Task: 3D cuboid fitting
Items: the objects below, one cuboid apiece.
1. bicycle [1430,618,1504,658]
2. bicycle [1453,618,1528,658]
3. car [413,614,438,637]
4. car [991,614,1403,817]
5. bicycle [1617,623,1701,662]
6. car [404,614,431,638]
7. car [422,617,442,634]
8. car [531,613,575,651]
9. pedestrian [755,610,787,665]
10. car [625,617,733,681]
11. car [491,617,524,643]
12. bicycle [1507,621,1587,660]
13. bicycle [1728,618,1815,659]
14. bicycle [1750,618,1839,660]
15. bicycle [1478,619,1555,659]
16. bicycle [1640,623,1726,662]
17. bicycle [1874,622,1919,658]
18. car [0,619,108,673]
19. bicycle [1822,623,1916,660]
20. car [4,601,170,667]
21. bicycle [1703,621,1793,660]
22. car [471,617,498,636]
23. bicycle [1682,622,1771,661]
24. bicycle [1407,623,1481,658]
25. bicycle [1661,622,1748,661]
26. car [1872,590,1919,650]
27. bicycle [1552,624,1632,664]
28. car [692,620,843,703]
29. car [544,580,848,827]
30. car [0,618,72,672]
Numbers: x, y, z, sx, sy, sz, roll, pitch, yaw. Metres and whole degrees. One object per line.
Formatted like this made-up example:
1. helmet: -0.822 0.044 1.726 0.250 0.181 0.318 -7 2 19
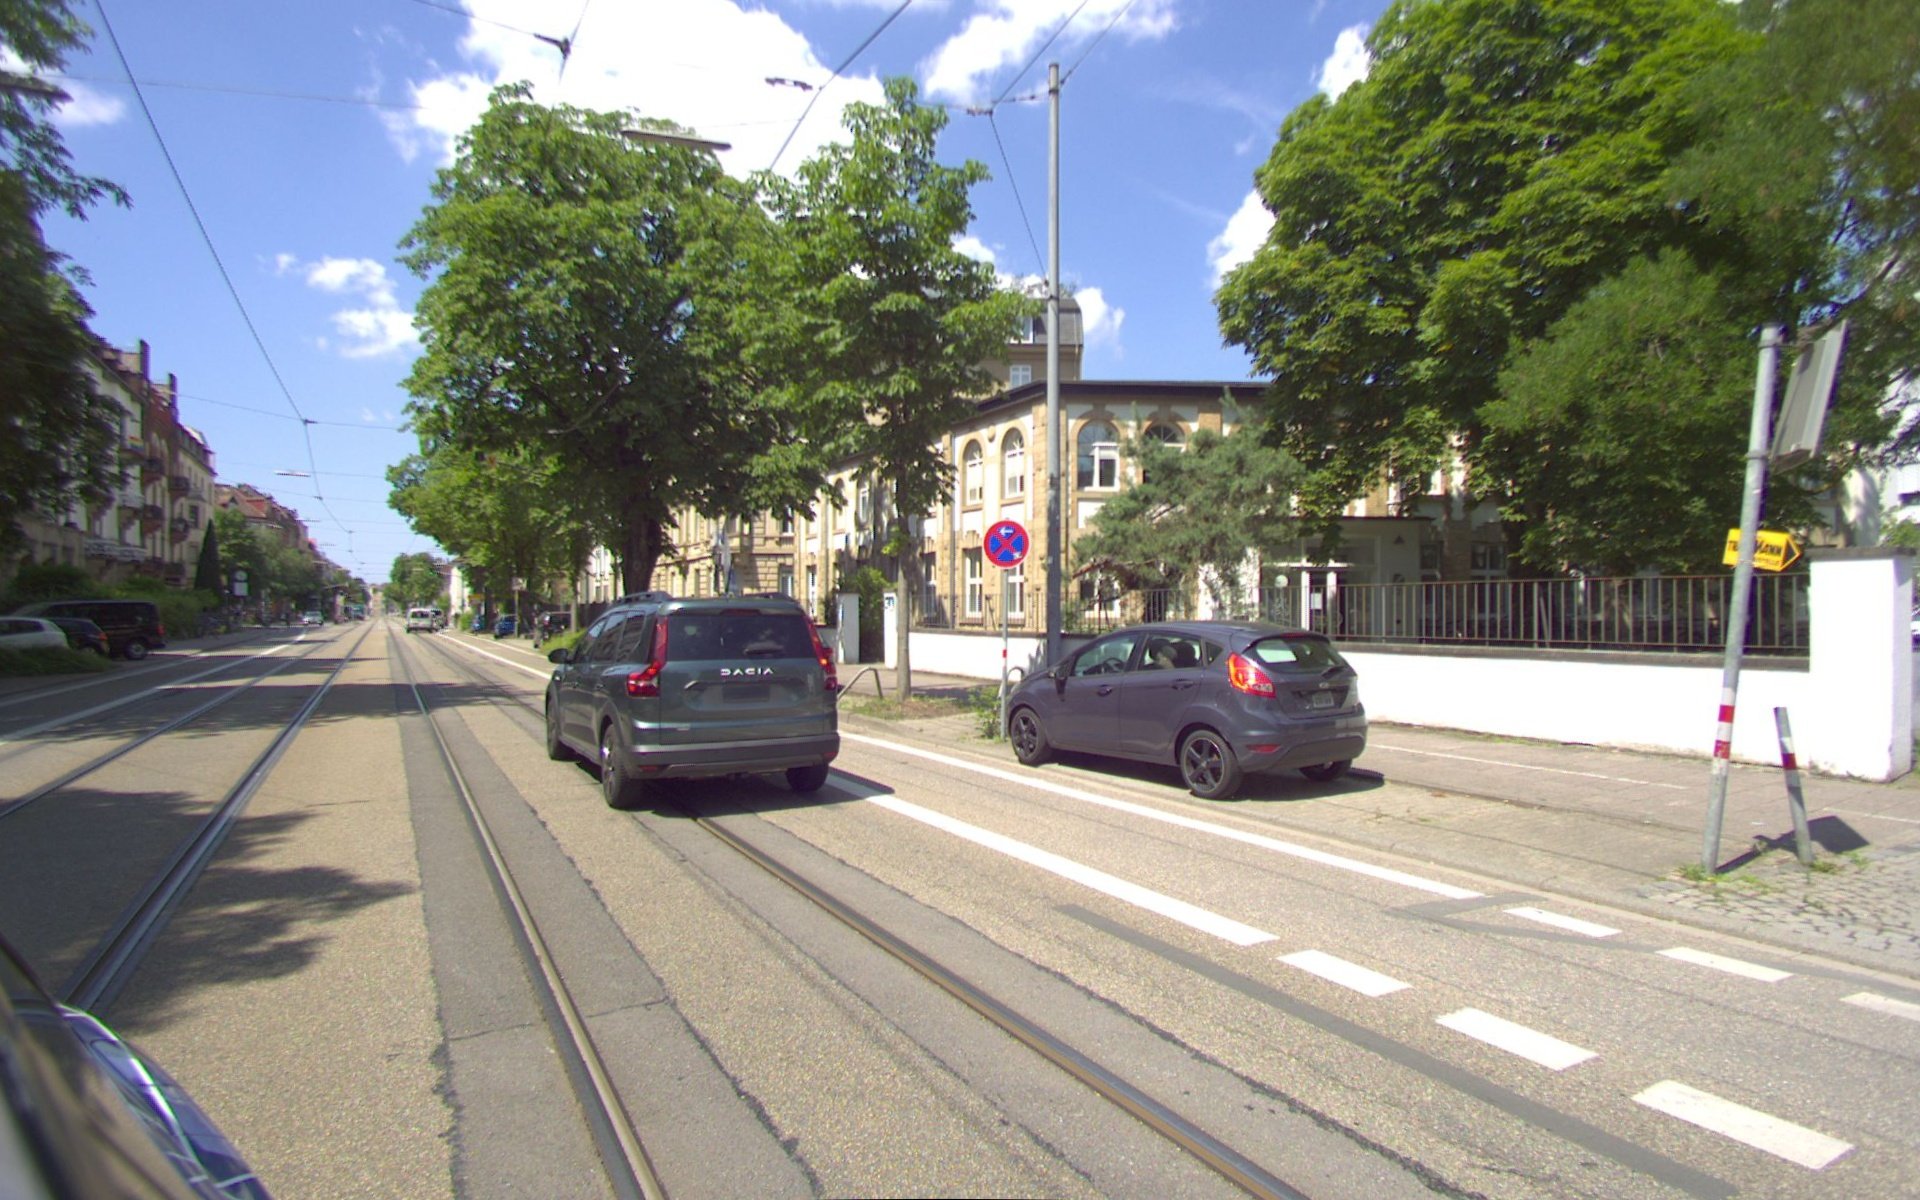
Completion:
1. bicycle: 14.105 1.035 28.234 0.622 1.019 2.265 0 0 -10
2. bicycle: 14.752 1.039 28.222 0.561 1.019 2.264 0 0 -10
3. car: -43.367 2.048 82.053 1.734 1.732 4.012 0 -1 -29
4. car: 2.033 0.910 9.655 1.562 1.467 3.736 -2 0 -33
5. bicycle: 19.556 1.169 28.388 0.598 1.019 2.263 0 0 -6
6. car: -40.616 1.906 75.741 1.649 1.732 4.012 0 -1 -29
7. car: -53.472 2.566 102.493 1.734 1.732 4.012 0 -1 -29
8. car: -18.341 1.396 45.559 1.700 1.626 4.013 0 0 -24
9. pedestrian: -5.570 1.102 29.844 0.685 1.579 0.746 0 -1 -32
10. car: -7.334 1.201 26.141 1.919 1.454 3.785 0 0 -28
11. car: -27.757 1.810 62.081 1.781 1.490 4.013 0 0 -24
12. bicycle: 16.285 1.109 28.156 0.597 1.019 2.264 0 0 -10
13. bicycle: 22.960 1.079 28.698 0.599 1.090 2.260 0 0 -1
14. bicycle: 23.594 1.080 28.672 0.599 1.090 2.260 0 0 -1
15. bicycle: 15.425 1.064 28.128 0.597 1.019 2.264 0 0 -10
16. bicycle: 20.276 1.166 28.443 0.598 1.019 2.263 0 0 -6
17. bicycle: 26.736 1.128 28.381 0.605 0.965 1.730 0 0 -1
18. car: -27.876 1.343 29.901 1.948 1.519 3.944 -1 -1 42
19. bicycle: 25.707 1.163 28.688 0.599 0.965 2.260 0 0 -1
20. car: -28.594 1.076 33.217 2.000 2.029 3.944 -1 -1 42
21. bicycle: 22.217 1.116 28.594 0.598 1.019 2.263 0 0 -6
22. car: -39.842 2.180 84.746 1.806 1.497 4.012 0 -1 -29
23. bicycle: 21.571 1.149 28.548 0.598 1.019 2.263 0 0 -6
24. bicycle: 13.329 1.105 27.970 0.645 0.897 2.264 0 0 -10
25. bicycle: 20.914 1.144 28.492 0.598 1.019 2.263 0 0 -6
26. car: 35.086 0.700 35.319 4.705 2.029 2.001 0 -1 -2
27. bicycle: 17.392 1.180 27.917 0.598 1.019 2.263 0 0 -6
28. car: -4.002 1.153 20.486 1.852 1.429 4.164 0 0 -28
29. car: -2.539 0.758 8.976 1.579 1.664 4.012 1 -2 -30
30. car: -26.022 1.152 26.390 1.733 1.397 3.983 2 -3 13
